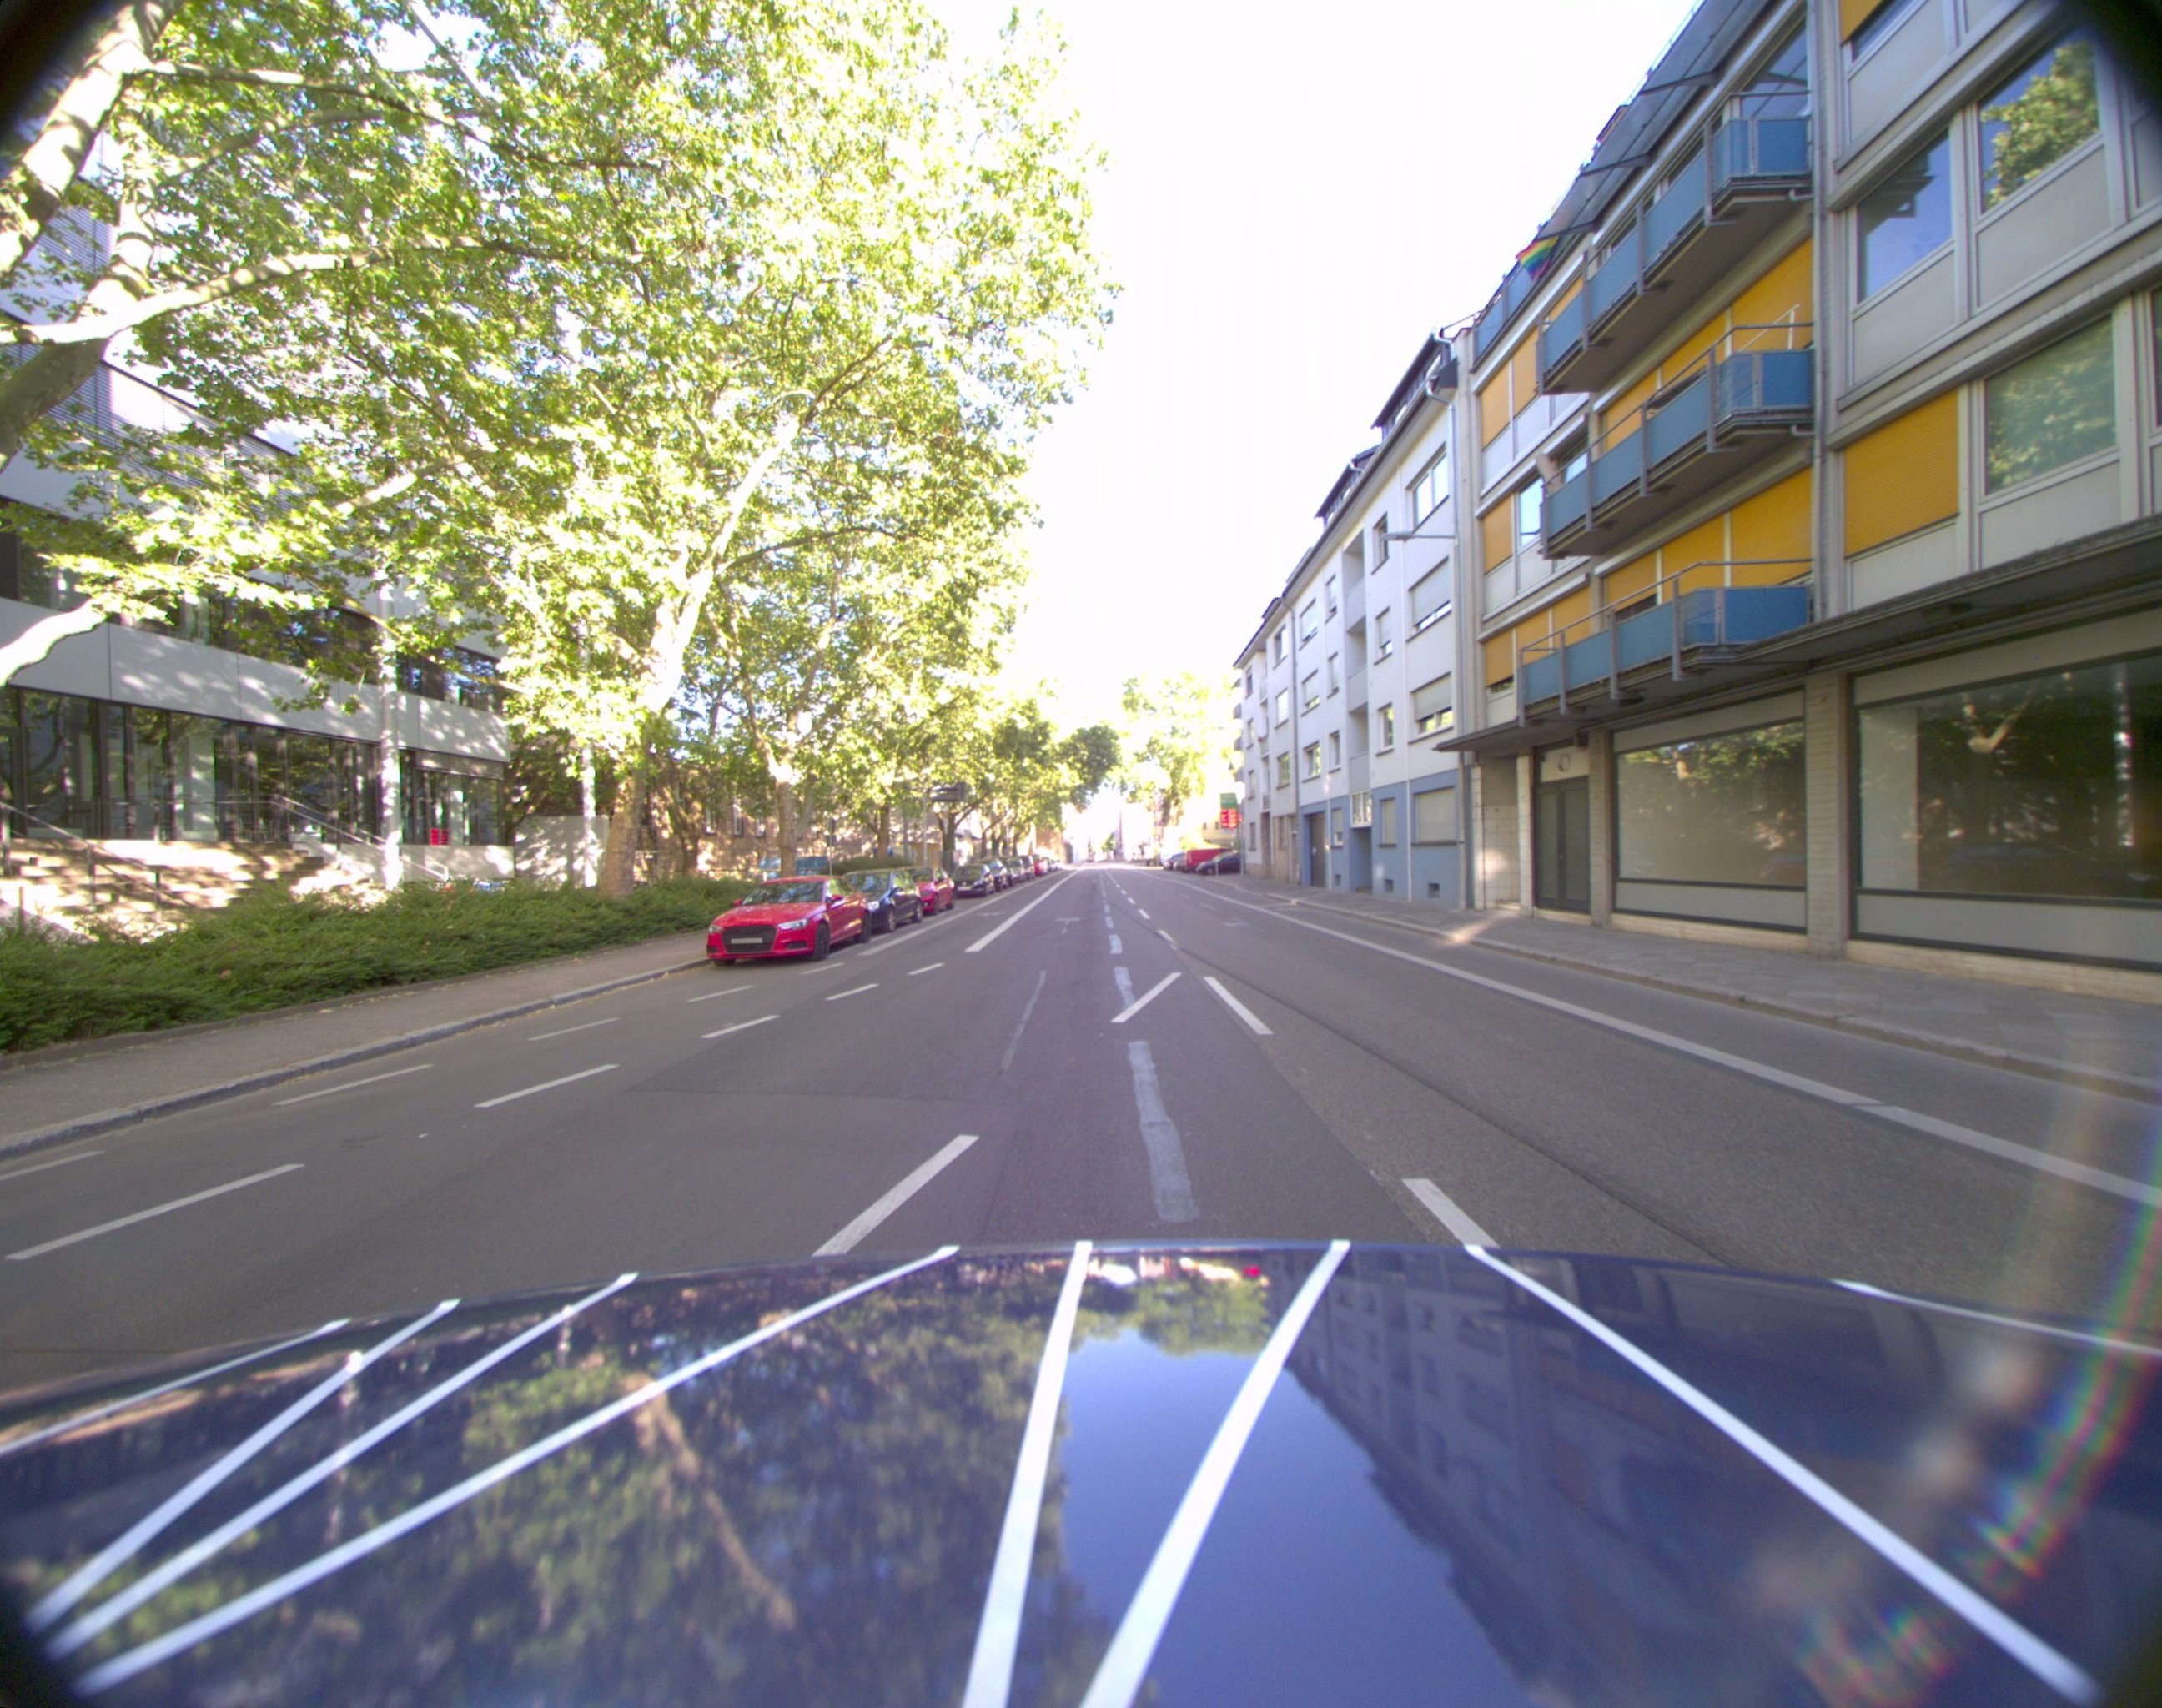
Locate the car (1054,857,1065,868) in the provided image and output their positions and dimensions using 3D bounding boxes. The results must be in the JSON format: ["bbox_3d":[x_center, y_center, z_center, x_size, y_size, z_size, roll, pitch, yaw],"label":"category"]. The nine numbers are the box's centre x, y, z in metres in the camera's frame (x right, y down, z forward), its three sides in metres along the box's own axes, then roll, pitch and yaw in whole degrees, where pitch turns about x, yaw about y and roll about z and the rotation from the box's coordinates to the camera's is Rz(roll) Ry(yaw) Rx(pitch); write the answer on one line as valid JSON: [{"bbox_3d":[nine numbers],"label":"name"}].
[{"bbox_3d":[-2.624,1.037,92.465,1.300,1.220,3.241,-1,0,0],"label":"car"}]

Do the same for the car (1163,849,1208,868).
[{"bbox_3d":[10.086,0.402,73.370,3.998,1.618,1.702,-2,1,-5],"label":"car"}]

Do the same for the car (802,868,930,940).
[{"bbox_3d":[-5.064,1.118,18.476,1.813,1.449,4.000,-1,0,2],"label":"car"}]

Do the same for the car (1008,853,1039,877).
[{"bbox_3d":[-4.166,0.757,55.518,1.831,1.608,4.177,-1,0,1],"label":"car"}]

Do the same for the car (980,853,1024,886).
[{"bbox_3d":[-4.543,0.874,44.200,1.998,1.715,4.262,-2,1,1],"label":"car"}]

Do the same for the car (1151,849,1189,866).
[{"bbox_3d":[9.490,0.381,80.867,3.728,1.579,1.743,-2,1,-5],"label":"car"}]

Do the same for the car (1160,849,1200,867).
[{"bbox_3d":[9.883,0.388,75.917,3.658,1.578,1.659,-2,1,-5],"label":"car"}]

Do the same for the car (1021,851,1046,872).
[{"bbox_3d":[-4.104,0.622,66.188,1.876,1.685,4.166,-1,0,1],"label":"car"}]

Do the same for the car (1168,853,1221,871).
[{"bbox_3d":[9.377,0.648,62.822,4.033,1.265,1.906,-2,1,-1],"label":"car"}]

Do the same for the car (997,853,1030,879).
[{"bbox_3d":[-4.438,0.745,50.461,1.798,1.608,4.075,-1,0,1],"label":"car"}]

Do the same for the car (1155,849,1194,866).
[{"bbox_3d":[9.619,0.385,78.576,3.703,1.573,1.718,-2,1,-5],"label":"car"}]

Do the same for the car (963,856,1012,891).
[{"bbox_3d":[-4.621,0.926,38.217,1.848,1.572,4.232,-2,0,1],"label":"car"}]

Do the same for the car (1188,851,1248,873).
[{"bbox_3d":[9.866,0.560,54.833,3.997,1.385,1.781,-2,1,-1],"label":"car"}]

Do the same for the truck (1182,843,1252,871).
[{"bbox_3d":[10.730,0.243,60.103,5.088,2.009,2.000,-2,1,0],"label":"truck"}]

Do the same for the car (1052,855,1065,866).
[{"bbox_3d":[-3.045,0.829,102.873,1.707,1.459,3.809,-1,0,0],"label":"car"}]

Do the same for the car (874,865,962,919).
[{"bbox_3d":[-4.968,1.124,23.687,1.790,1.429,4.000,-1,0,1],"label":"car"}]

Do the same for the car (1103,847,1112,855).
[{"bbox_3d":[6.774,-0.780,193.469,1.998,2.002,3.999,-2,1,1],"label":"car"}]

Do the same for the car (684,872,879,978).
[{"bbox_3d":[-5.106,1.127,13.633,1.775,1.416,4.173,-3,0,0],"label":"car"}]

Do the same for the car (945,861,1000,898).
[{"bbox_3d":[-4.675,1.087,33.271,1.745,1.430,4.000,-1,0,1],"label":"car"}]

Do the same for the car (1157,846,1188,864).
[{"bbox_3d":[10.235,0.115,85.274,3.267,1.927,1.693,-2,1,2],"label":"car"}]
